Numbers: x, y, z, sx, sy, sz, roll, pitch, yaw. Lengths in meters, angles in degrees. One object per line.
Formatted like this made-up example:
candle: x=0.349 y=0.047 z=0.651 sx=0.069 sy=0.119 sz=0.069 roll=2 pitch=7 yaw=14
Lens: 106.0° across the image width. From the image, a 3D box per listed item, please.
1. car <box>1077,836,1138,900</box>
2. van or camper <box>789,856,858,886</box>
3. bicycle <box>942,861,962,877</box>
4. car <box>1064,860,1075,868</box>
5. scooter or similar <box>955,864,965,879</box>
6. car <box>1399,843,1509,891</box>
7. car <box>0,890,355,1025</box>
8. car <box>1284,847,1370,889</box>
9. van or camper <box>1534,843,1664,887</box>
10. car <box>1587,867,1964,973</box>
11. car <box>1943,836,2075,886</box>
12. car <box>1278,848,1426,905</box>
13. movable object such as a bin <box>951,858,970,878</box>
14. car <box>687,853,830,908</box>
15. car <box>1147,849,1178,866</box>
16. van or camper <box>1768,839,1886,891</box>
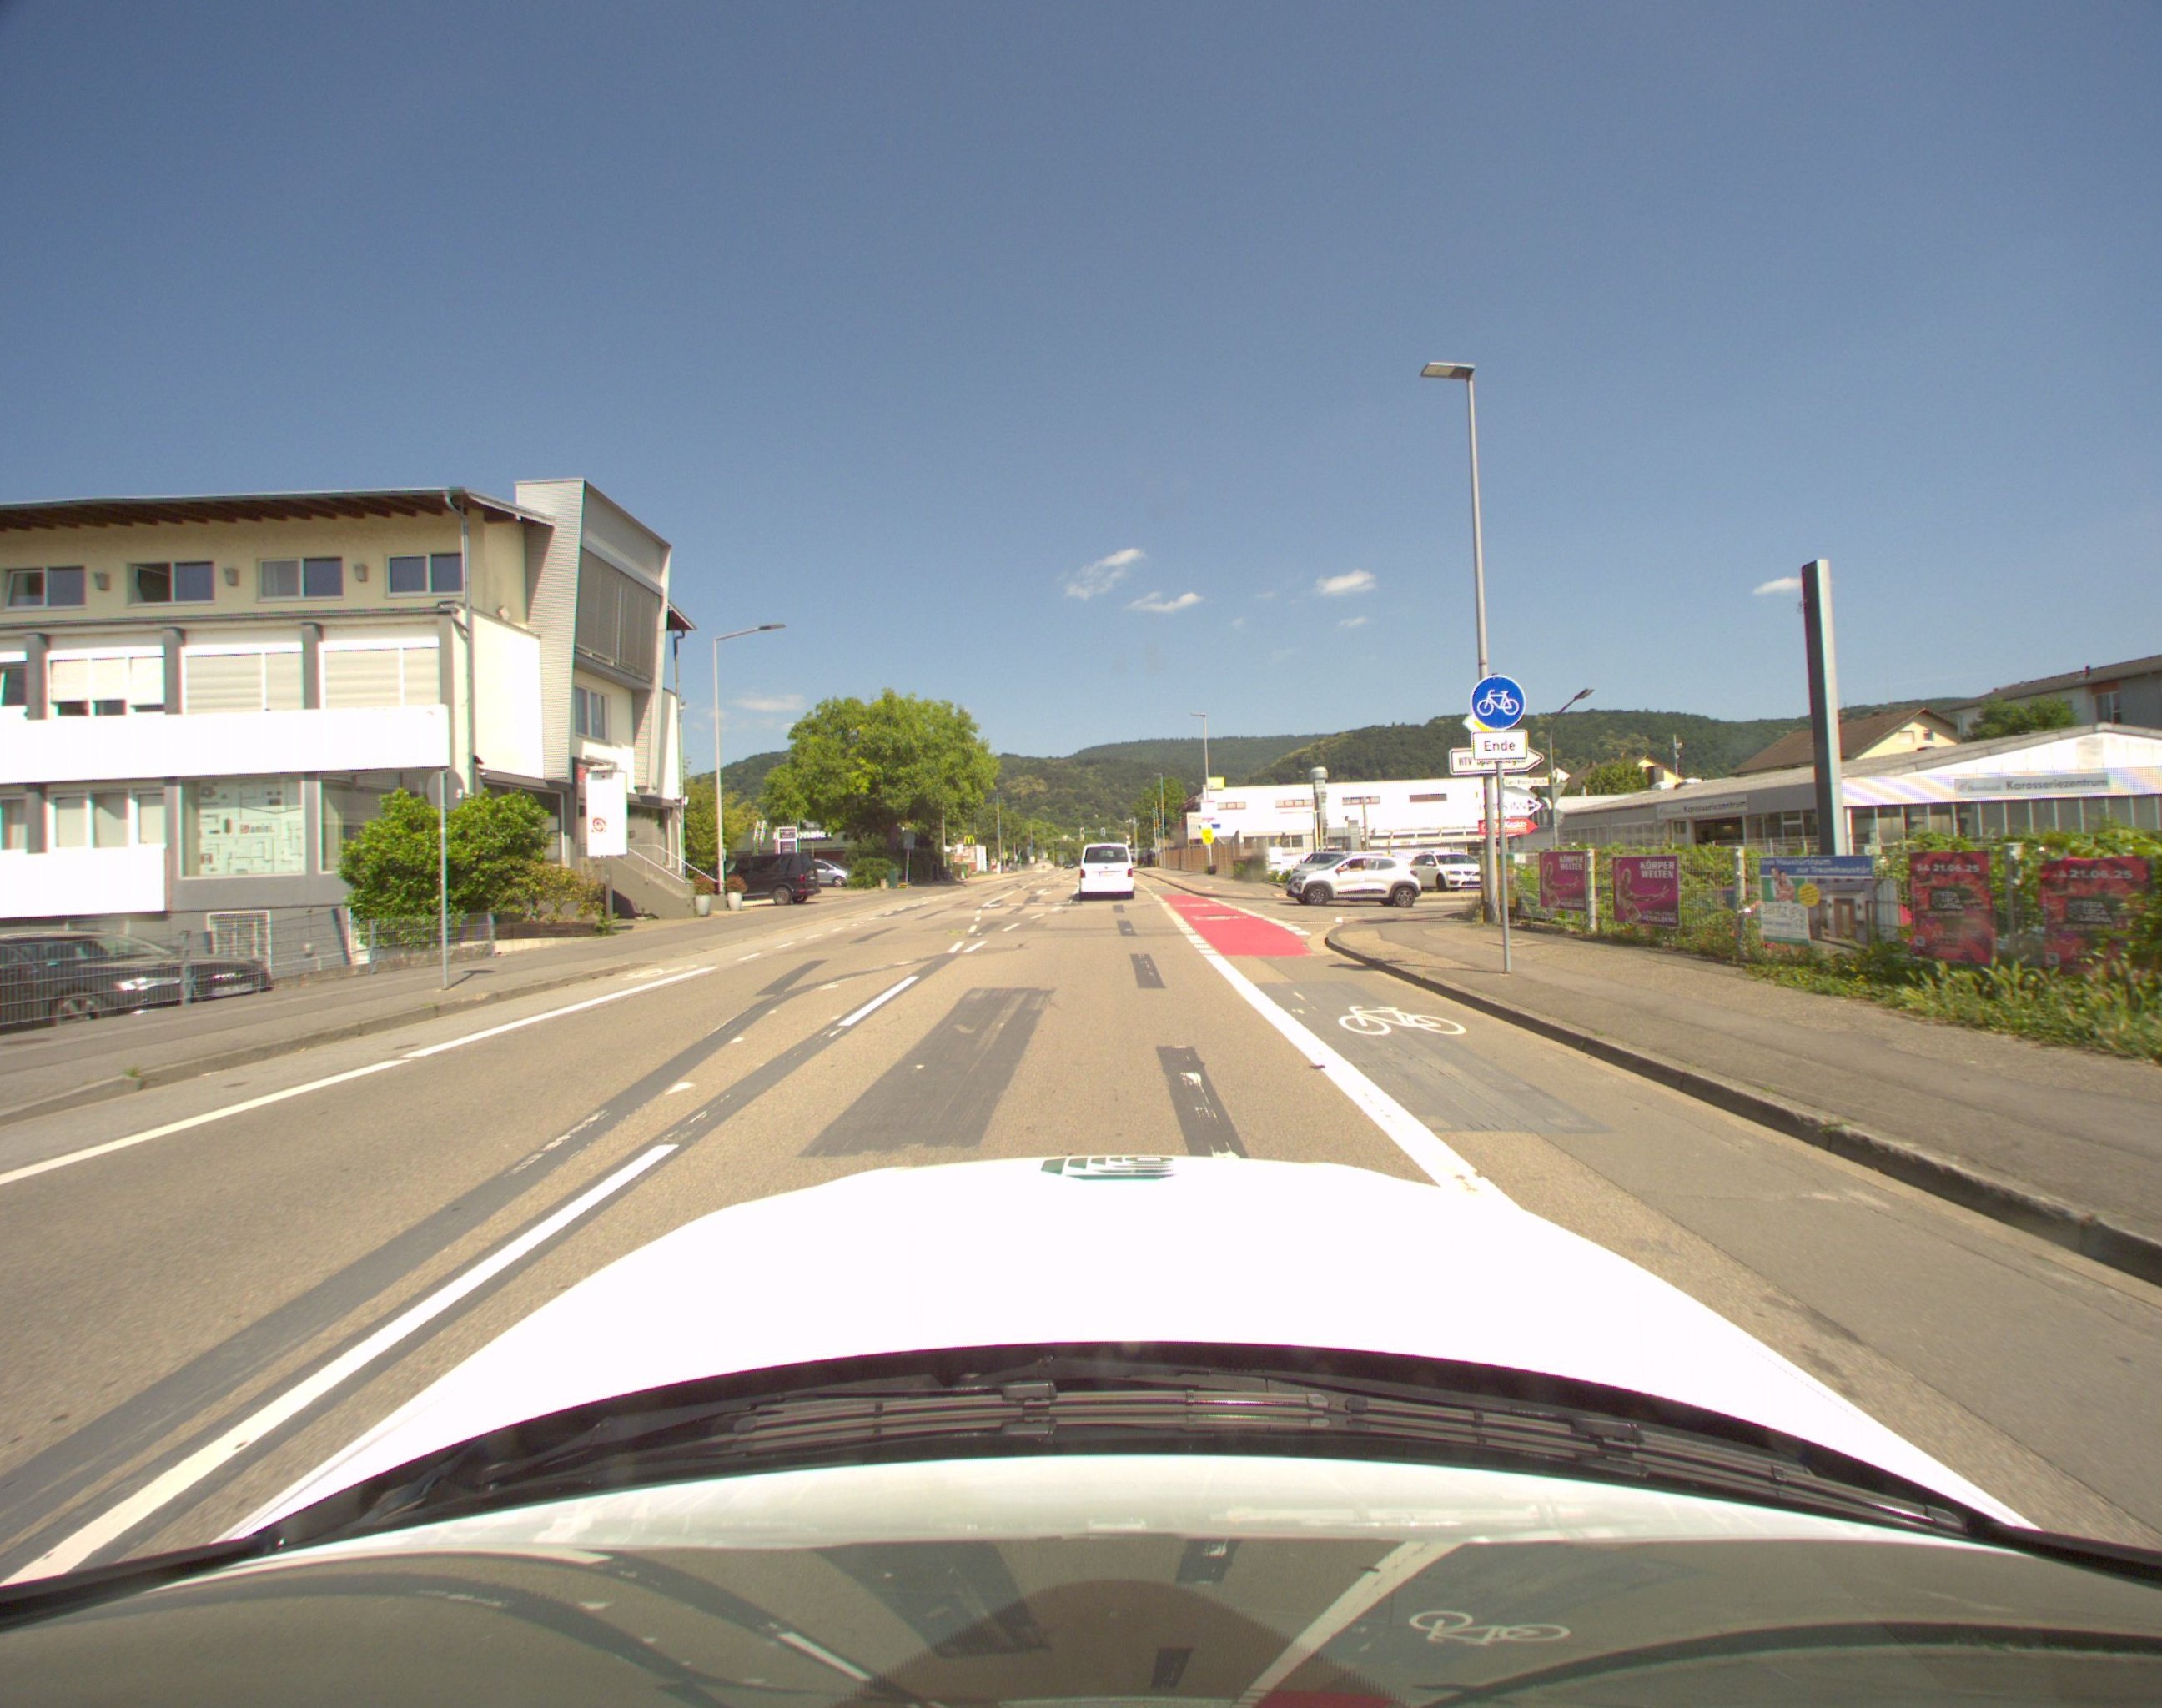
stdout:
car: x=0.881 y=0.476 z=29.464 sx=1.929 sy=2.059 sz=4.543 roll=-2 pitch=0 yaw=0
van or camper: x=-14.713 y=0.953 z=46.556 sx=3.378 sy=1.665 sz=1.634 roll=0 pitch=0 yaw=2
bicycle: x=-9.337 y=1.107 z=59.003 sx=1.024 sy=1.118 sz=2.764 roll=0 pitch=0 yaw=-2
car: x=-2.164 y=1.961 z=155.377 sx=1.987 sy=1.370 sz=4.326 roll=-3 pitch=0 yaw=0
scooter or similar: x=-9.299 y=1.329 z=62.735 sx=0.646 sy=1.127 sz=1.620 roll=1 pitch=0 yaw=-5
car: x=13.173 y=0.424 z=29.096 sx=1.841 sy=1.504 sz=4.506 roll=-2 pitch=0 yaw=0
car: x=-13.312 y=1.383 z=11.189 sx=4.724 sy=1.481 sz=2.047 roll=-2 pitch=0 yaw=-1
car: x=8.961 y=0.503 z=29.414 sx=1.933 sy=1.359 sz=4.524 roll=2 pitch=-1 yaw=31
van or camper: x=18.601 y=0.362 z=29.502 sx=1.987 sy=1.351 sz=4.228 roll=3 pitch=0 yaw=0
car: x=9.903 y=0.922 z=11.893 sx=3.966 sy=1.346 sz=1.609 roll=-1 pitch=0 yaw=6
car: x=33.388 y=0.209 z=29.448 sx=1.974 sy=1.647 sz=4.025 roll=0 pitch=1 yaw=30
car: x=7.692 y=0.618 z=23.346 sx=3.652 sy=1.484 sz=1.728 roll=-2 pitch=0 yaw=1
movable object such as a bin: x=-10.106 y=1.140 z=68.480 sx=1.447 sy=1.590 sz=1.304 roll=-3 pitch=0 yaw=-8
car: x=-12.186 y=0.977 z=31.047 sx=4.557 sy=1.865 sz=2.089 roll=-2 pitch=0 yaw=-4
car: x=10.828 y=0.452 z=108.558 sx=3.965 sy=2.072 sz=2.004 roll=-3 pitch=0 yaw=7
van or camper: x=26.865 y=0.400 z=29.502 sx=1.975 sy=1.543 sz=4.254 roll=-7 pitch=-4 yaw=27
